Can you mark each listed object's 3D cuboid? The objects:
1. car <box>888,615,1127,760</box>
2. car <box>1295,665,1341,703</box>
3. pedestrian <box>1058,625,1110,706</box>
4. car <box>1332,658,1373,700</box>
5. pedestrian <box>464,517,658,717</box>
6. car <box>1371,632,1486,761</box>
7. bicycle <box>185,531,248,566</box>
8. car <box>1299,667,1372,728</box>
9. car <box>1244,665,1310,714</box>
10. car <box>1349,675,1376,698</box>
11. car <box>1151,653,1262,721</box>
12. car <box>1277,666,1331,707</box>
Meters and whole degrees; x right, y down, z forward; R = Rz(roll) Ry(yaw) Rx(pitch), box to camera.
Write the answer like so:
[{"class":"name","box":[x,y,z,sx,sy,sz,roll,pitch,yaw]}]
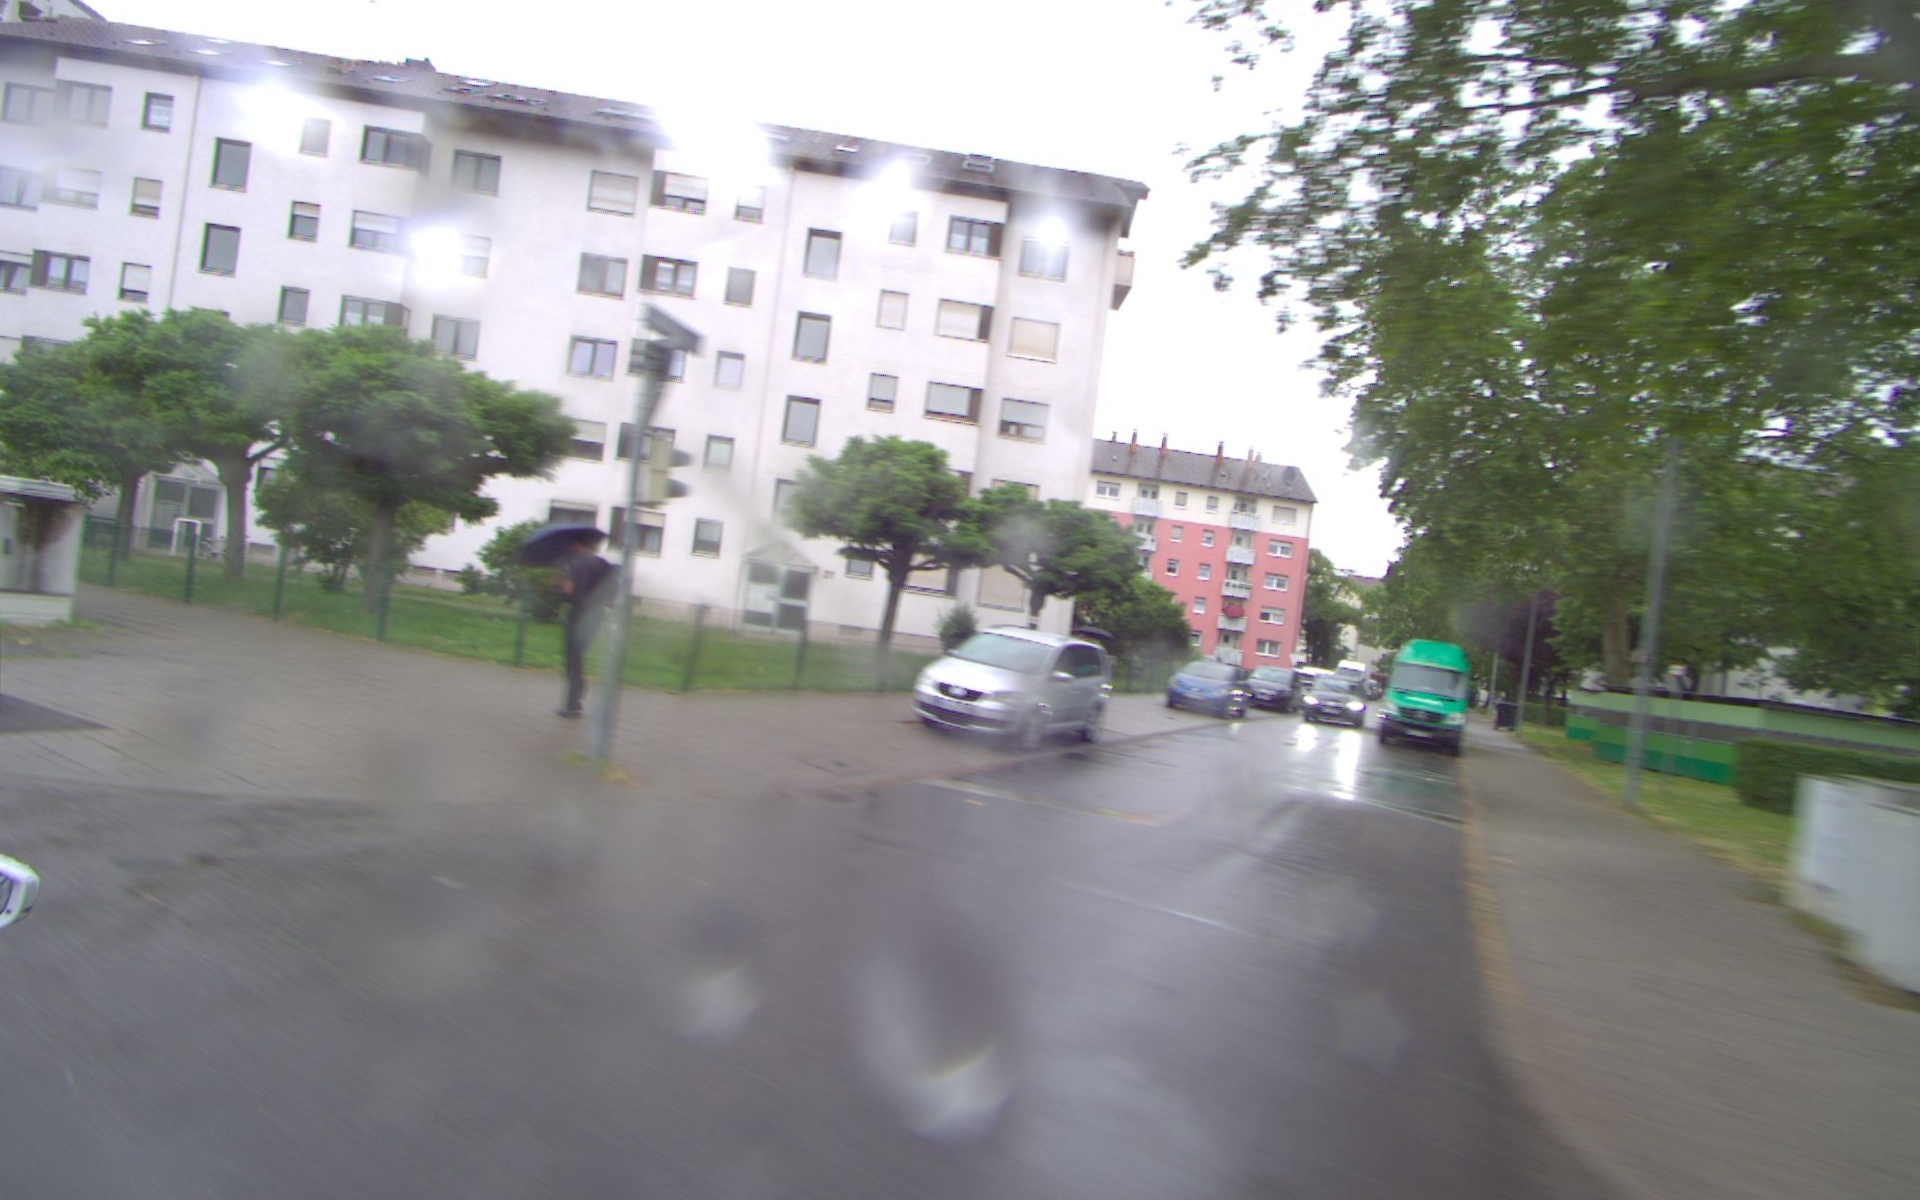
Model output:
[{"class":"car","box":[0.901,1.303,15.422,1.839,1.701,4.302,7,-1,28]},{"class":"car","box":[18.824,4.381,52.786,1.655,1.676,4.305,7,-1,26]},{"class":"pedestrian","box":[2.965,1.557,23.931,0.708,1.790,1.181,7,0,24]},{"class":"car","box":[27.776,5.581,71.077,2.043,2.612,4.923,7,-1,26]},{"class":"pedestrian","box":[-4.123,0.181,10.401,1.412,1.835,1.099,7,0,37]},{"class":"car","box":[12.730,2.554,27.066,2.149,2.812,6.133,7,-1,29]},{"class":"bicycle","box":[-23.324,-1.605,31.585,1.543,0.858,0.491,7,0,1]},{"class":"car","box":[12.590,3.234,33.580,1.745,1.670,3.998,7,-1,26]},{"class":"car","box":[12.055,3.363,38.131,1.655,1.523,4.305,7,-1,26]},{"class":"car","box":[31.990,6.837,79.912,1.655,1.523,4.305,7,-1,25]},{"class":"car","box":[7.079,2.452,28.518,1.904,1.523,4.302,7,-1,28]},{"class":"car","box":[15.507,3.872,45.212,1.655,1.523,4.305,7,-1,26]}]
